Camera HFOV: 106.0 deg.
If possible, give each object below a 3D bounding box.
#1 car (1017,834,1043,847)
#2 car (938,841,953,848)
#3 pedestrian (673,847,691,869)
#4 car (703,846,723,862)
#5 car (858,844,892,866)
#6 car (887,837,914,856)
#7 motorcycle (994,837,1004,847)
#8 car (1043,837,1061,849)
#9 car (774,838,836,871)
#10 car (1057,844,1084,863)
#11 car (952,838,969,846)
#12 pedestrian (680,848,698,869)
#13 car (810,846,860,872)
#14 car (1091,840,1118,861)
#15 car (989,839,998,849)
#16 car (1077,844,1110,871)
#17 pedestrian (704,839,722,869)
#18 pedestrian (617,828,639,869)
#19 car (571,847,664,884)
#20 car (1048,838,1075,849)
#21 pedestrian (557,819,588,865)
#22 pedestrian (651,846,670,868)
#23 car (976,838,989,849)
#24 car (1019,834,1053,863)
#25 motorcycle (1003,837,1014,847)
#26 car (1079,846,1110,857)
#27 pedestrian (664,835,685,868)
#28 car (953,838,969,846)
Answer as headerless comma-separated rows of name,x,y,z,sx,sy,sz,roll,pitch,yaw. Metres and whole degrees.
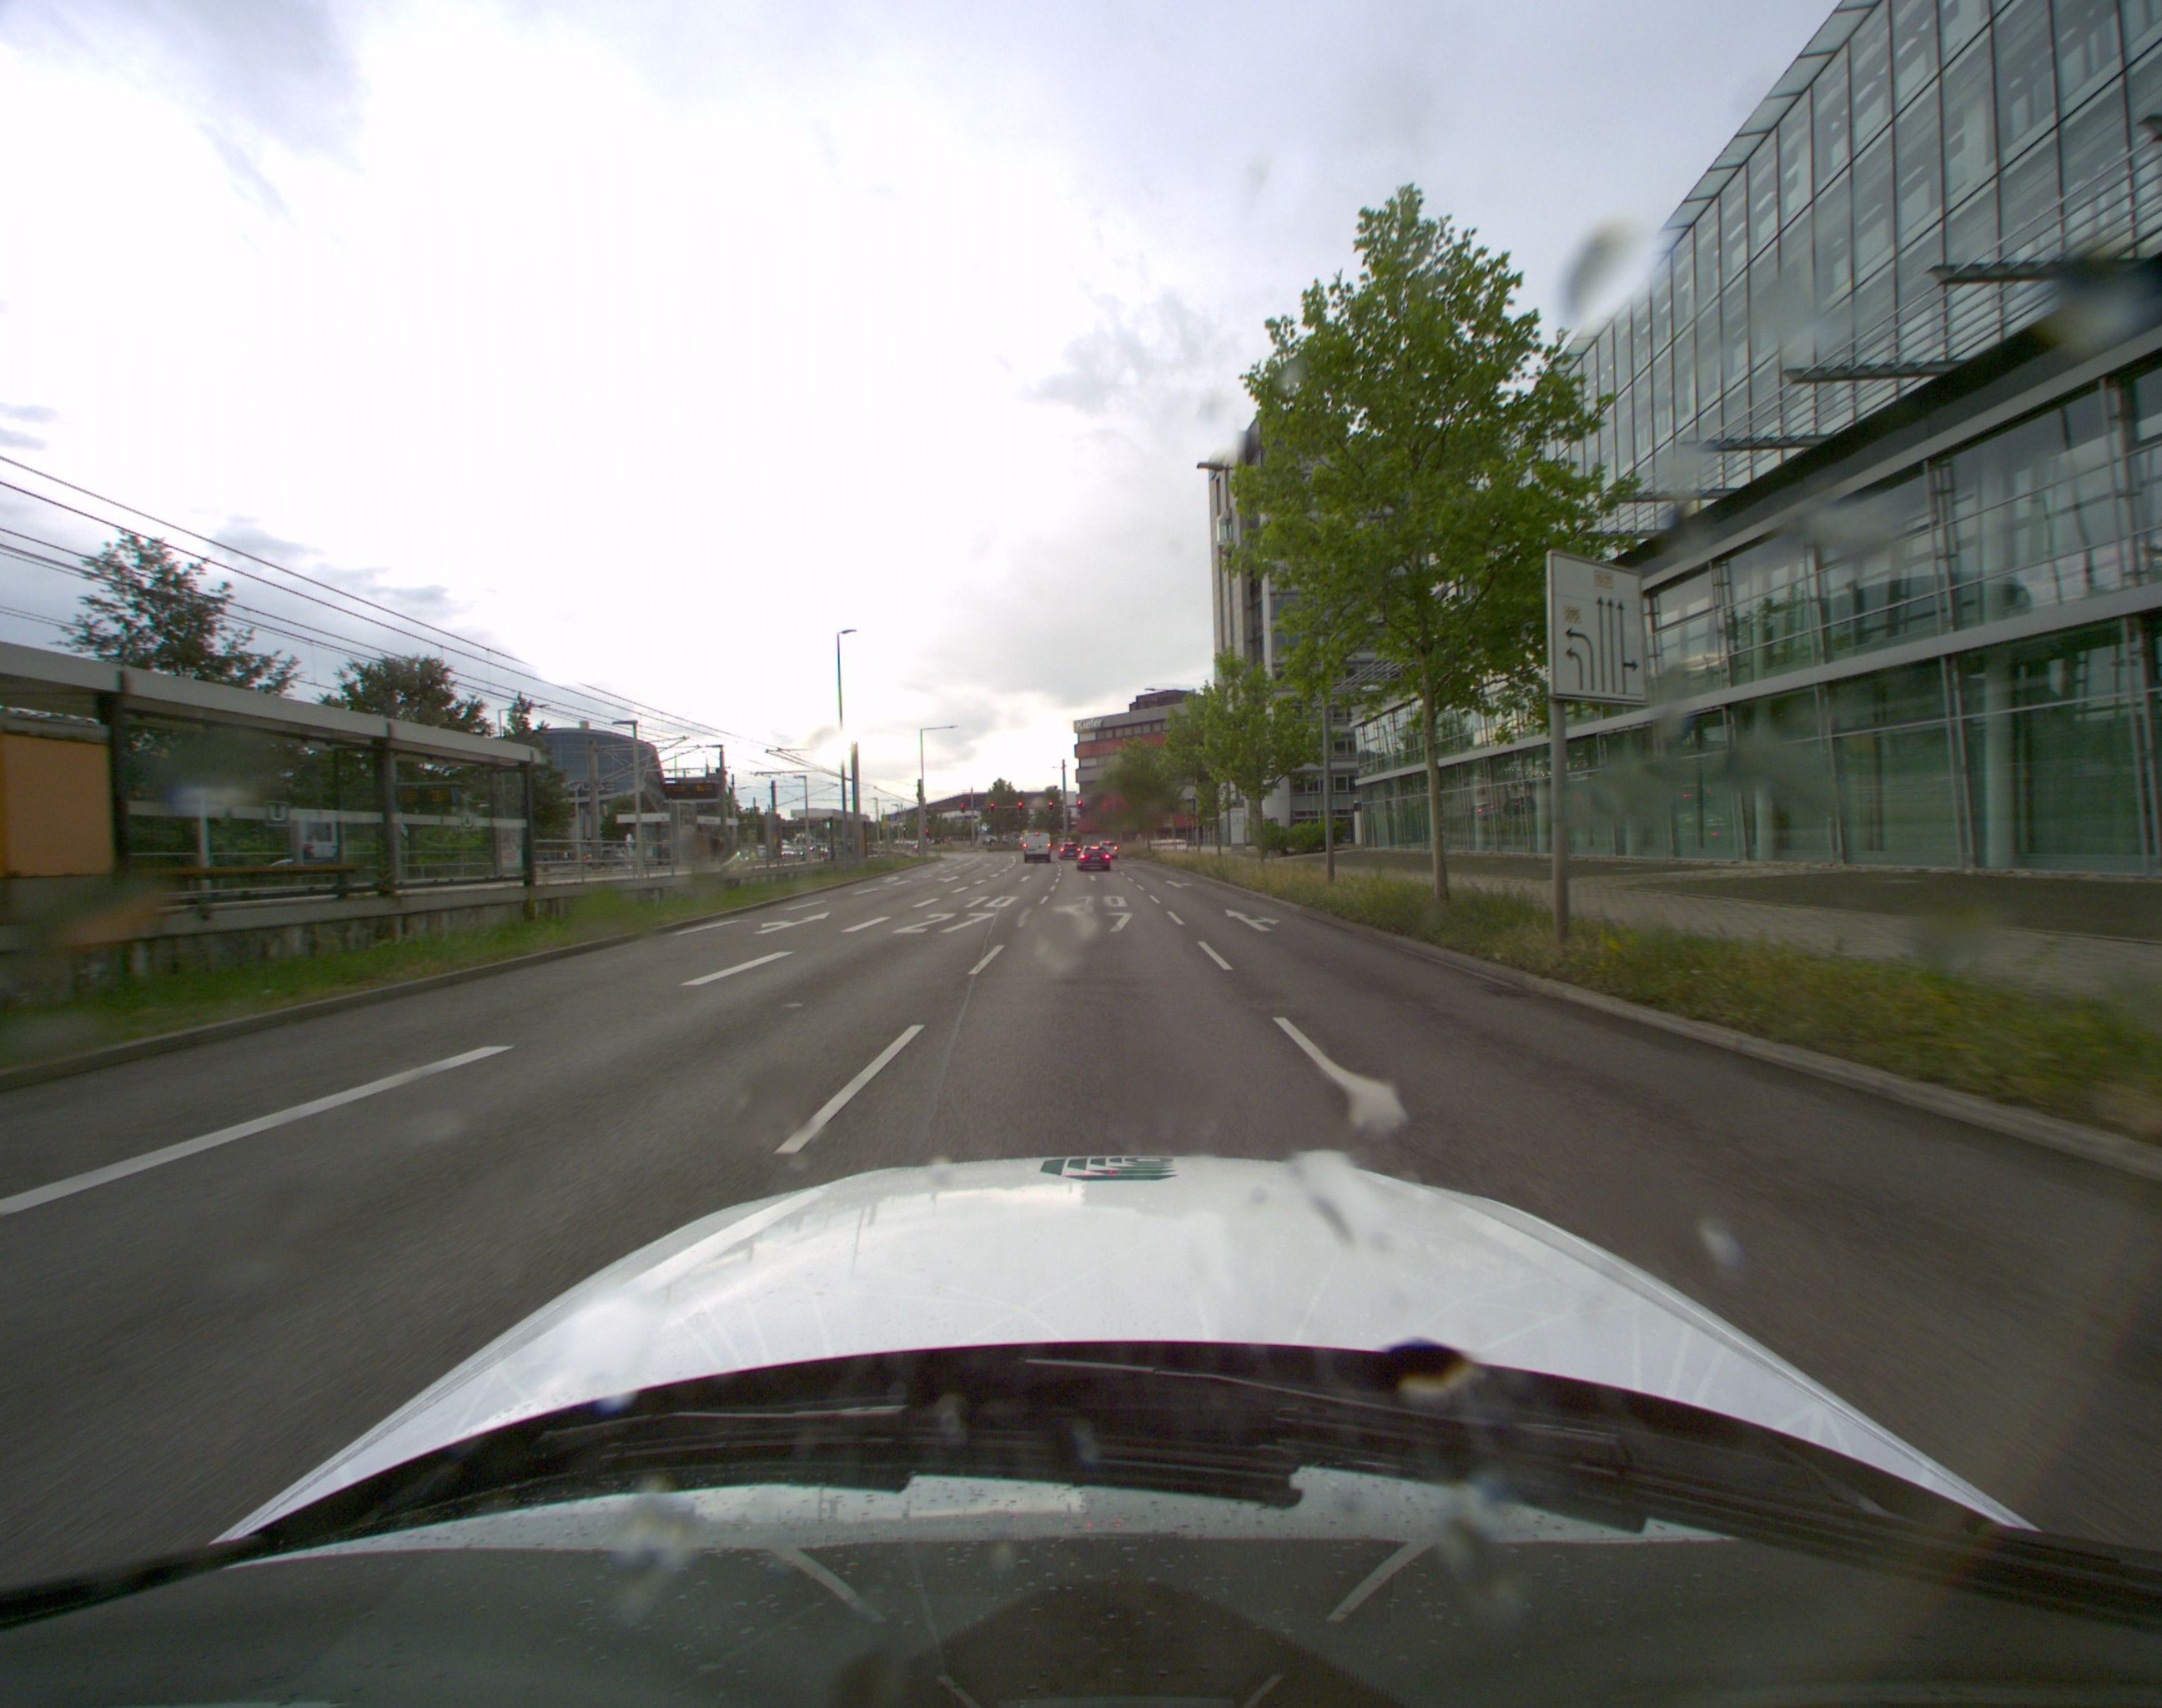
car,-8.210,-2.201,131.214,2.011,2.014,3.951,2,-2,-44
car,-39.181,-2.721,235.729,4.001,2.014,1.986,0,-3,-21
pedestrian,-22.986,0.222,46.907,0.725,1.253,0.730,0,-2,-5
car,-52.785,0.035,116.805,2.008,2.014,3.956,2,-4,-35
car,-16.984,0.101,67.254,1.989,1.675,3.842,2,-1,-4
car,-18.068,-0.751,81.831,1.989,1.809,3.842,2,-1,-4
motorcycle,-19.860,-2.924,197.562,1.996,2.014,3.980,0,-3,-14
car,-5.492,-1.991,154.378,2.005,2.014,3.962,1,-3,-28
car,-13.882,-0.012,41.202,1.989,1.452,3.844,0,3,-4
car,-0.959,-0.041,70.059,2.018,1.623,3.993,0,-1,-5
car,-30.189,-2.985,203.596,4.001,2.014,1.986,0,-3,-21
pedestrian,-23.043,0.275,47.905,0.725,1.253,0.730,0,-2,-5
car,-14.528,0.338,48.270,1.989,1.453,3.841,0,-2,-4
car,1.982,-0.342,70.192,2.017,1.769,3.995,0,1,-3
car,-18.702,-2.167,174.429,1.817,2.014,3.459,0,-3,-9
car,0.767,0.166,47.347,1.757,1.463,4.631,0,1,3
pedestrian,-22.111,0.021,48.908,0.750,1.751,0.763,0,-3,-3
pedestrian,-22.955,-0.288,41.293,0.686,2.080,0.714,-1,0,1
car,-17.949,0.425,31.711,1.855,1.336,3.330,0,1,-4
car,-2.966,-1.551,123.088,2.039,1.623,3.951,0,-1,-44
pedestrian,-22.779,-0.523,36.514,0.856,2.014,1.036,0,-3,-13
pedestrian,-23.288,0.170,45.122,0.725,1.253,0.730,0,-2,-5
car,-19.249,-2.018,158.710,1.997,2.014,3.979,0,-3,-14
car,-3.457,-0.406,63.860,2.505,2.177,5.145,0,0,-2
motorcycle,-17.617,-2.931,198.153,1.996,2.014,3.980,0,-3,-14
car,1.937,-0.359,117.586,2.039,1.623,4.272,0,-1,-44
pedestrian,-21.879,-0.124,43.833,0.727,1.715,0.830,0,-2,-3
car,-32.462,-3.306,220.306,4.001,2.014,1.986,0,-3,-21
